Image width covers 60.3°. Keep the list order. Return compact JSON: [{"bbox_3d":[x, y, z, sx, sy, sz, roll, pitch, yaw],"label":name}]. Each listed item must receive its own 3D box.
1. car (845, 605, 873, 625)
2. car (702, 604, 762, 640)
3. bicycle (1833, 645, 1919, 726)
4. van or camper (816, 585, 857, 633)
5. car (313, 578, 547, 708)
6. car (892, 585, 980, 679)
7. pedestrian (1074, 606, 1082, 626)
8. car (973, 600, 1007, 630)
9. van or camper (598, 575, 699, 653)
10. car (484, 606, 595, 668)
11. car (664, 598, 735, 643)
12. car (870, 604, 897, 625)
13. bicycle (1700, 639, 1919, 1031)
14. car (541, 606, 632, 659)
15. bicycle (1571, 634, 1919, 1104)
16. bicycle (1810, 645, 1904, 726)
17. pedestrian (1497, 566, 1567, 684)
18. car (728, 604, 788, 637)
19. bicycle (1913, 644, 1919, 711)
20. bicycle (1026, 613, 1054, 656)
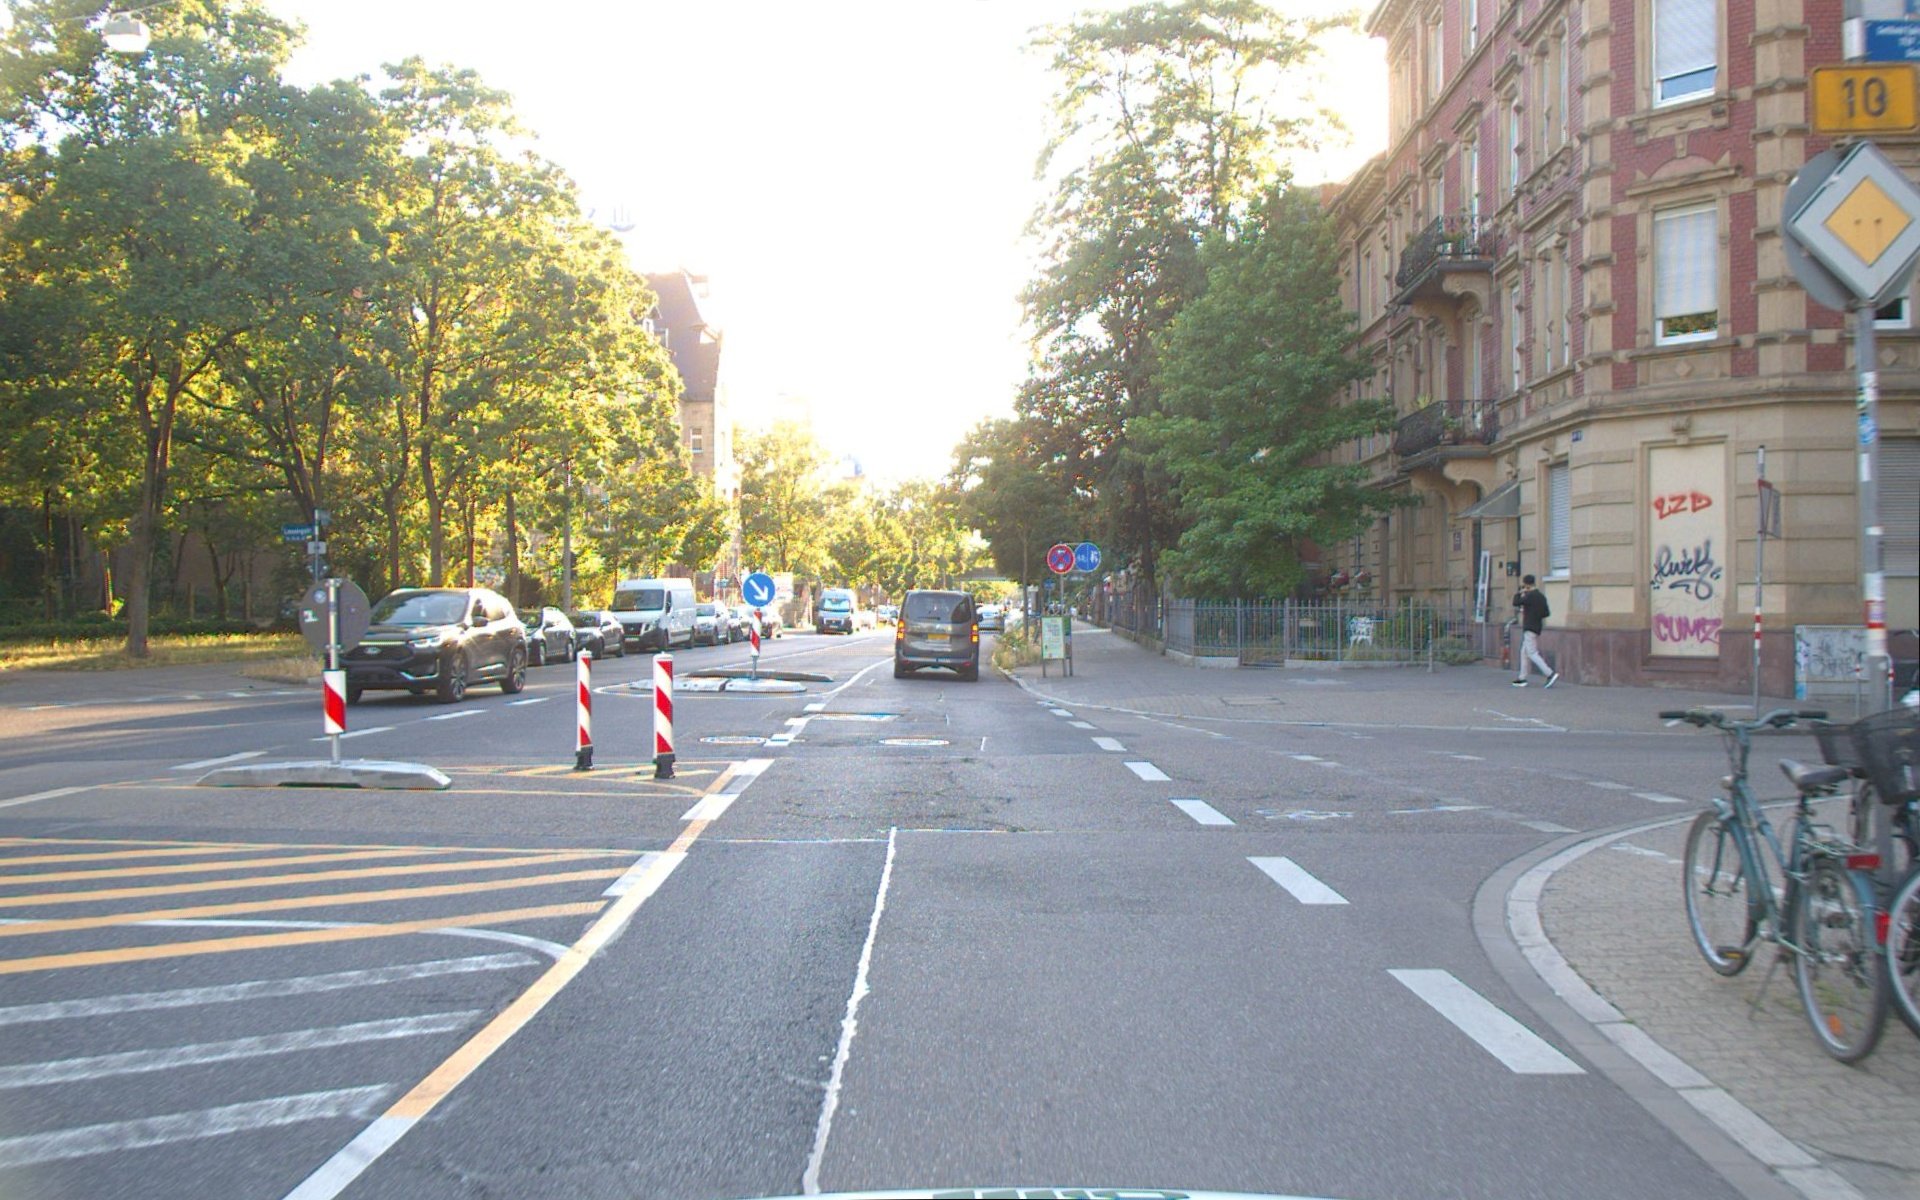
[{"bbox_3d":[-6.761,0.983,111.473,1.504,1.270,3.615,2,0,2],"label":"car"},{"bbox_3d":[-9.591,0.898,69.834,1.700,1.471,4.626,0,0,3],"label":"car"},{"bbox_3d":[11.388,1.044,20.513,0.285,0.831,1.498,2,3,-1],"label":"bicycle"},{"bbox_3d":[-7.194,0.511,96.904,1.953,2.715,6.037,2,0,-1],"label":"van or camper"},{"bbox_3d":[-7.977,0.612,25.380,1.837,1.735,4.569,-3,0,3],"label":"car"},{"bbox_3d":[-0.525,0.668,36.761,1.849,1.958,3.838,-1,0,-1],"label":"car"},{"bbox_3d":[9.947,1.352,139.480,0.631,1.661,0.656,2,0,3],"label":"pedestrian"},{"bbox_3d":[1.798,0.863,96.860,1.952,1.662,4.001,0,0,2],"label":"car"},{"bbox_3d":[-10.633,0.451,56.938,2.047,2.511,6.307,-1,0,2],"label":"van or camper"},{"bbox_3d":[-11.194,0.949,44.320,1.589,1.533,4.546,-1,0,3],"label":"car"},{"bbox_3d":[-10.094,0.765,64.318,1.827,1.673,4.572,-1,0,2],"label":"car"},{"bbox_3d":[-5.825,1.107,126.122,1.661,1.477,4.001,2,0,2],"label":"car"},{"bbox_3d":[3.493,0.806,5.888,0.554,1.297,2.264,-4,-1,-2],"label":"bicycle"},{"bbox_3d":[-11.063,0.942,49.269,1.594,1.454,4.243,-1,0,2],"label":"car"},{"bbox_3d":[2.961,0.806,5.934,0.554,1.322,2.264,-4,-1,-2],"label":"bicycle"},{"bbox_3d":[11.037,1.039,20.396,0.285,0.831,1.498,2,3,-1],"label":"bicycle"},{"bbox_3d":[9.115,0.389,26.398,0.730,1.809,0.831,-3,0,-1],"label":"pedestrian"},{"bbox_3d":[-9.280,0.921,76.433,1.952,1.509,4.830,0,0,3],"label":"car"},{"bbox_3d":[12.248,1.023,20.449,0.288,0.831,1.499,2,3,11],"label":"bicycle"},{"bbox_3d":[2.306,0.986,47.743,0.633,1.187,1.930,2,0,-1],"label":"bicycle"}]
